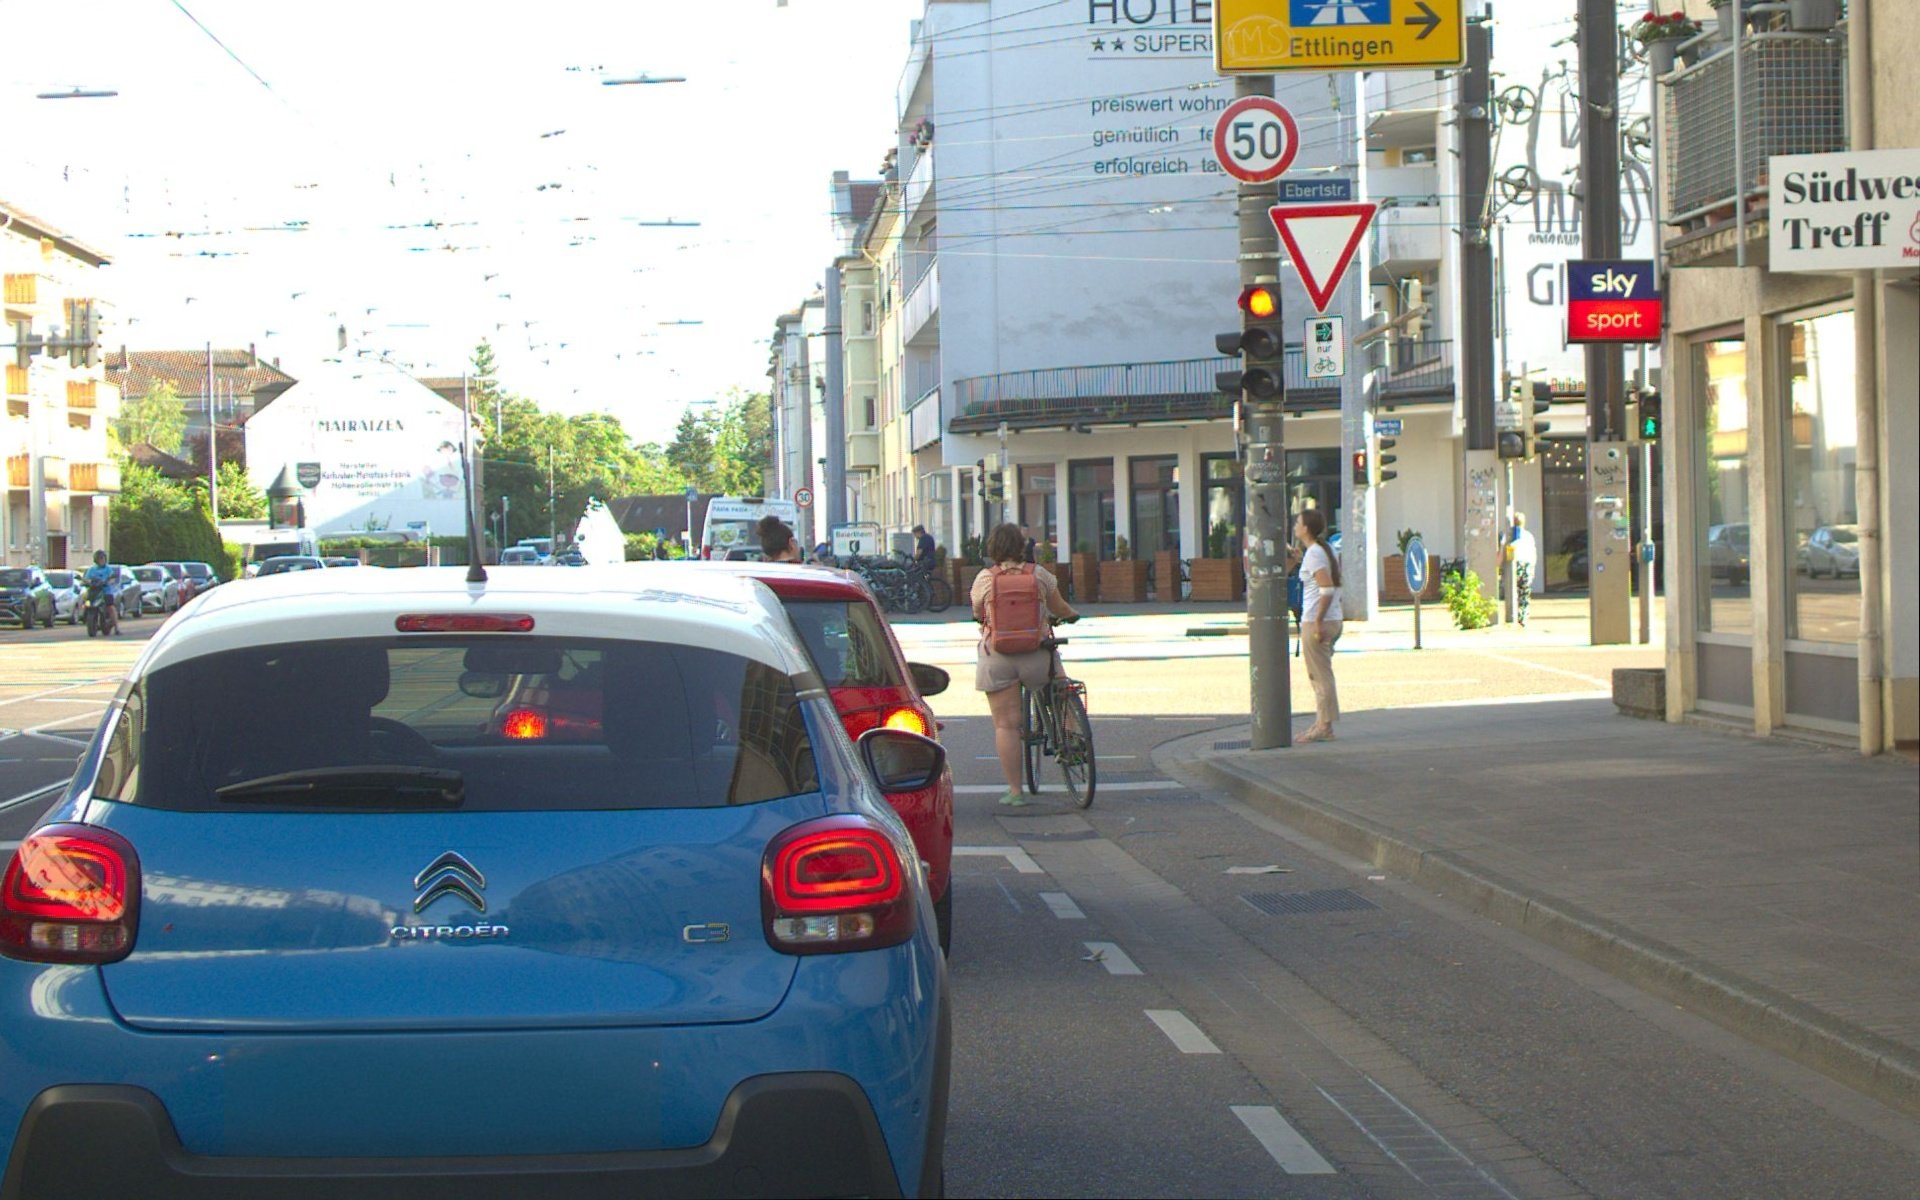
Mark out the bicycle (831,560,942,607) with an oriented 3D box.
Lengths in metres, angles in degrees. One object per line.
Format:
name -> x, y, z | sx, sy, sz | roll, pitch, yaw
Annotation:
bicycle -> -1.433, -0.320, 67.251 | 2.132, 0.898, 0.367 | 1, 0, -9

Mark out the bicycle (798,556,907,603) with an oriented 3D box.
bicycle -> -2.136, -0.401, 68.349 | 2.132, 0.898, 0.367 | 1, 0, -9

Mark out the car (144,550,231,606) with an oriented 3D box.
car -> -23.834, -0.686, 106.181 | 1.983, 1.681, 4.001 | 1, 1, -3

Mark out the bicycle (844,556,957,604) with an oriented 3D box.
bicycle -> -1.144, -0.388, 65.912 | 2.132, 0.898, 0.367 | 1, 0, -9

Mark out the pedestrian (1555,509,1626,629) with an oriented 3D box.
pedestrian -> 8.756, -0.432, 47.789 | 0.752, 1.652, 0.883 | 1, 0, -4

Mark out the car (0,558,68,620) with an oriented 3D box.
car -> -23.637, -0.291, 86.036 | 1.785, 1.493, 4.001 | 1, 1, -4

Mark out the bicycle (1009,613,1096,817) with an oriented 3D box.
bicycle -> 0.538, 0.655, 20.478 | 0.427, 1.119, 1.998 | 1, 1, -1

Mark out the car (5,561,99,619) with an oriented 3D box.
car -> -24.272, -0.272, 92.038 | 1.732, 1.493, 4.001 | 1, 1, -5

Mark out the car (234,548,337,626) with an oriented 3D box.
car -> -14.963, -0.301, 76.399 | 1.774, 1.660, 3.857 | 1, 1, -4

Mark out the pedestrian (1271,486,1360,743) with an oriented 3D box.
pedestrian -> 2.496, 0.098, 24.201 | 0.517, 1.777, 0.595 | 1, 0, -2

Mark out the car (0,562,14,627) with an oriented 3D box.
car -> -23.147, -0.127, 78.973 | 1.787, 1.506, 4.150 | 1, 1, -2

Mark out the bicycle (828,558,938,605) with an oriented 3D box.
bicycle -> -1.517, -0.365, 67.659 | 2.132, 0.898, 0.367 | 1, 0, -9

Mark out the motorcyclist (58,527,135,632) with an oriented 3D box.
motorcyclist -> -16.886, -0.415, 67.257 | 1.185, 2.007, 1.276 | -1, 1, -3

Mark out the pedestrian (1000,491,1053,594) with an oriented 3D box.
pedestrian -> 1.319, -1.136, 67.942 | 0.709, 2.007, 0.759 | 1, 0, -37

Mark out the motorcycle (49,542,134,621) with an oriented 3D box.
motorcycle -> -16.872, -0.377, 66.883 | 0.923, 1.481, 3.726 | 1, 1, -3

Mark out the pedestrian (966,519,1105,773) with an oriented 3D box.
pedestrian -> 0.437, 0.263, 20.227 | 0.777, 1.455, 0.682 | 1, 0, -1

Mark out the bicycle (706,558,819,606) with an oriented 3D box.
bicycle -> -3.810, -0.343, 66.211 | 2.132, 0.898, 0.367 | 1, 0, -9

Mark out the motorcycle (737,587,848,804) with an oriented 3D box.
motorcycle -> -0.928, 0.503, 19.450 | 0.526, 1.136, 2.290 | 1, 1, -1

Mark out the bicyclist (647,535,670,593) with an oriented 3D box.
bicyclist -> -7.754, -0.931, 88.464 | 0.561, 1.472, 0.748 | 1, 0, -4

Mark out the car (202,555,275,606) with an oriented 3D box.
car -> -24.462, -0.680, 116.666 | 1.833, 1.681, 4.001 | 1, 1, -4

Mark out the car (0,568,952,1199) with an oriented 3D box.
car -> -0.870, 0.666, 7.179 | 1.654, 1.439, 3.523 | 1, 1, -1

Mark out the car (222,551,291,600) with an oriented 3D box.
car -> -24.777, -0.883, 121.253 | 1.846, 1.681, 3.875 | 1, 1, -4

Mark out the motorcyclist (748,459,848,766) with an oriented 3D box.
motorcyclist -> -0.920, 0.068, 19.633 | 0.526, 1.710, 0.717 | 1, 0, -1

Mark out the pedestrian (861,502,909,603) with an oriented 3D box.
pedestrian -> -1.507, -0.960, 69.200 | 0.630, 2.007, 0.724 | 1, 0, -36

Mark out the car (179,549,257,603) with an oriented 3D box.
car -> -23.976, -0.772, 111.154 | 1.882, 1.681, 4.001 | 1, 1, -4

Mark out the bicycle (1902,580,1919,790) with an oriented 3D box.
bicycle -> 4.842, 0.415, 15.772 | 0.542, 0.995, 1.706 | 1, 1, -1

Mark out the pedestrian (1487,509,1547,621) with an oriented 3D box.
pedestrian -> 8.047, -0.500, 49.671 | 0.736, 1.595, 0.749 | 1, 0, 2

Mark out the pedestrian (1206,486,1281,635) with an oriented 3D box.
pedestrian -> 3.871, -0.540, 46.939 | 0.926, 2.007, 0.759 | 1, 0, -1

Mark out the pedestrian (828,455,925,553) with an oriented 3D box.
pedestrian -> -1.752, -2.027, 73.544 | 1.993, 2.007, 4.000 | 1, 1, -1

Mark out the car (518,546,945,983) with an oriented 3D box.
car -> -0.796, 0.550, 13.199 | 1.424, 1.462, 2.924 | -1, 0, -1

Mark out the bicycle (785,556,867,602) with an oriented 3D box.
bicycle -> -2.705, -0.431, 69.327 | 1.785, 0.898, 0.366 | 1, 1, 34

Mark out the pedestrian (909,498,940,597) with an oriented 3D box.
pedestrian -> -0.733, -1.079, 70.281 | 0.577, 2.007, 0.626 | 1, 0, -3

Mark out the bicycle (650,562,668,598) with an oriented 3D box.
bicycle -> -7.791, -0.525, 88.962 | 0.349, 0.900, 1.859 | 1, 1, -2
